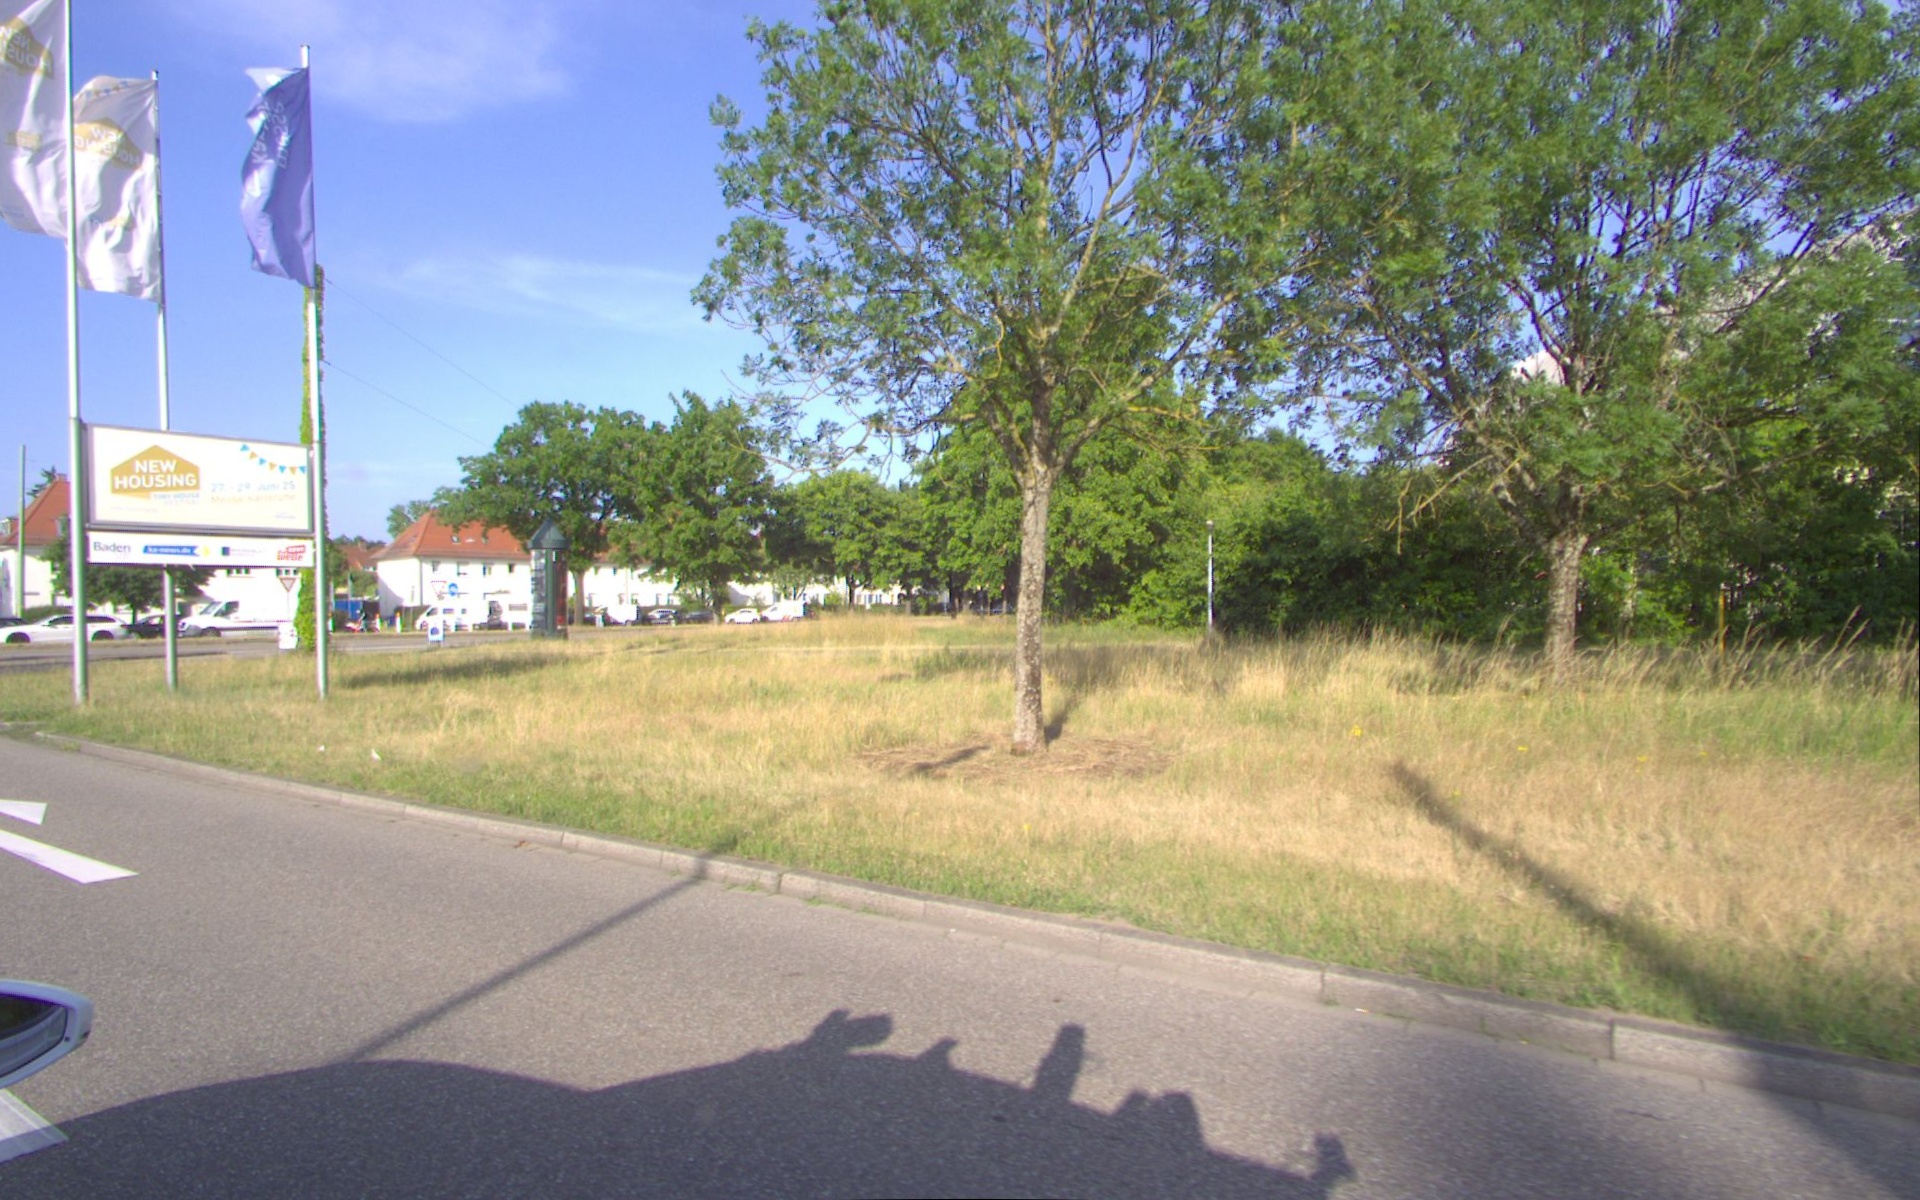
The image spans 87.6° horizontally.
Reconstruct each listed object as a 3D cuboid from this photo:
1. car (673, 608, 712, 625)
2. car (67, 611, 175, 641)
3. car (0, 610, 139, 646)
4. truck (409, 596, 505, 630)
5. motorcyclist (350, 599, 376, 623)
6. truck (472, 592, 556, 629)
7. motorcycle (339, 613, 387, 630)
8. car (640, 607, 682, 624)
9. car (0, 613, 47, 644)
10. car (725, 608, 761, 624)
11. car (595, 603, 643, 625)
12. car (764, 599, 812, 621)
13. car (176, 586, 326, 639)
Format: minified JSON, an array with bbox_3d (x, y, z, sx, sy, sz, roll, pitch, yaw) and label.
[{"bbox_3d":[-26.144,1.604,98.050,3.367,1.534,1.895,-1,0,-6],"label":"car"},{"bbox_3d":[-42.891,1.306,51.249,1.694,1.472,3.973,0,0,37],"label":"car"},{"bbox_3d":[-41.769,1.259,46.732,1.816,1.583,5.077,0,0,37],"label":"car"},{"bbox_3d":[-38.722,1.004,77.155,6.233,2.557,2.277,0,0,1],"label":"truck"},{"bbox_3d":[-33.724,0.607,56.596,0.671,1.370,1.062,0,0,35],"label":"motorcyclist"},{"bbox_3d":[-36.535,0.834,82.206,5.964,2.892,1.894,-1,0,-10],"label":"truck"},{"bbox_3d":[-33.723,1.205,56.608,0.681,0.878,2.264,0,0,35],"label":"motorcycle"},{"bbox_3d":[-27.763,1.414,93.149,3.432,1.534,1.895,-1,0,-6],"label":"car"},{"bbox_3d":[-46.117,1.345,46.857,1.694,1.430,4.807,0,0,37],"label":"car"},{"bbox_3d":[-21.921,1.604,101.359,3.367,1.534,1.895,-1,0,-6],"label":"car"},{"bbox_3d":[-30.760,1.233,90.423,3.835,1.945,1.895,-1,0,-10],"label":"car"},{"bbox_3d":[-18.279,1.067,106.495,4.885,2.261,1.999,-1,0,-10],"label":"car"},{"bbox_3d":[-37.369,0.653,52.961,1.974,2.617,6.187,0,0,36],"label":"car"}]
